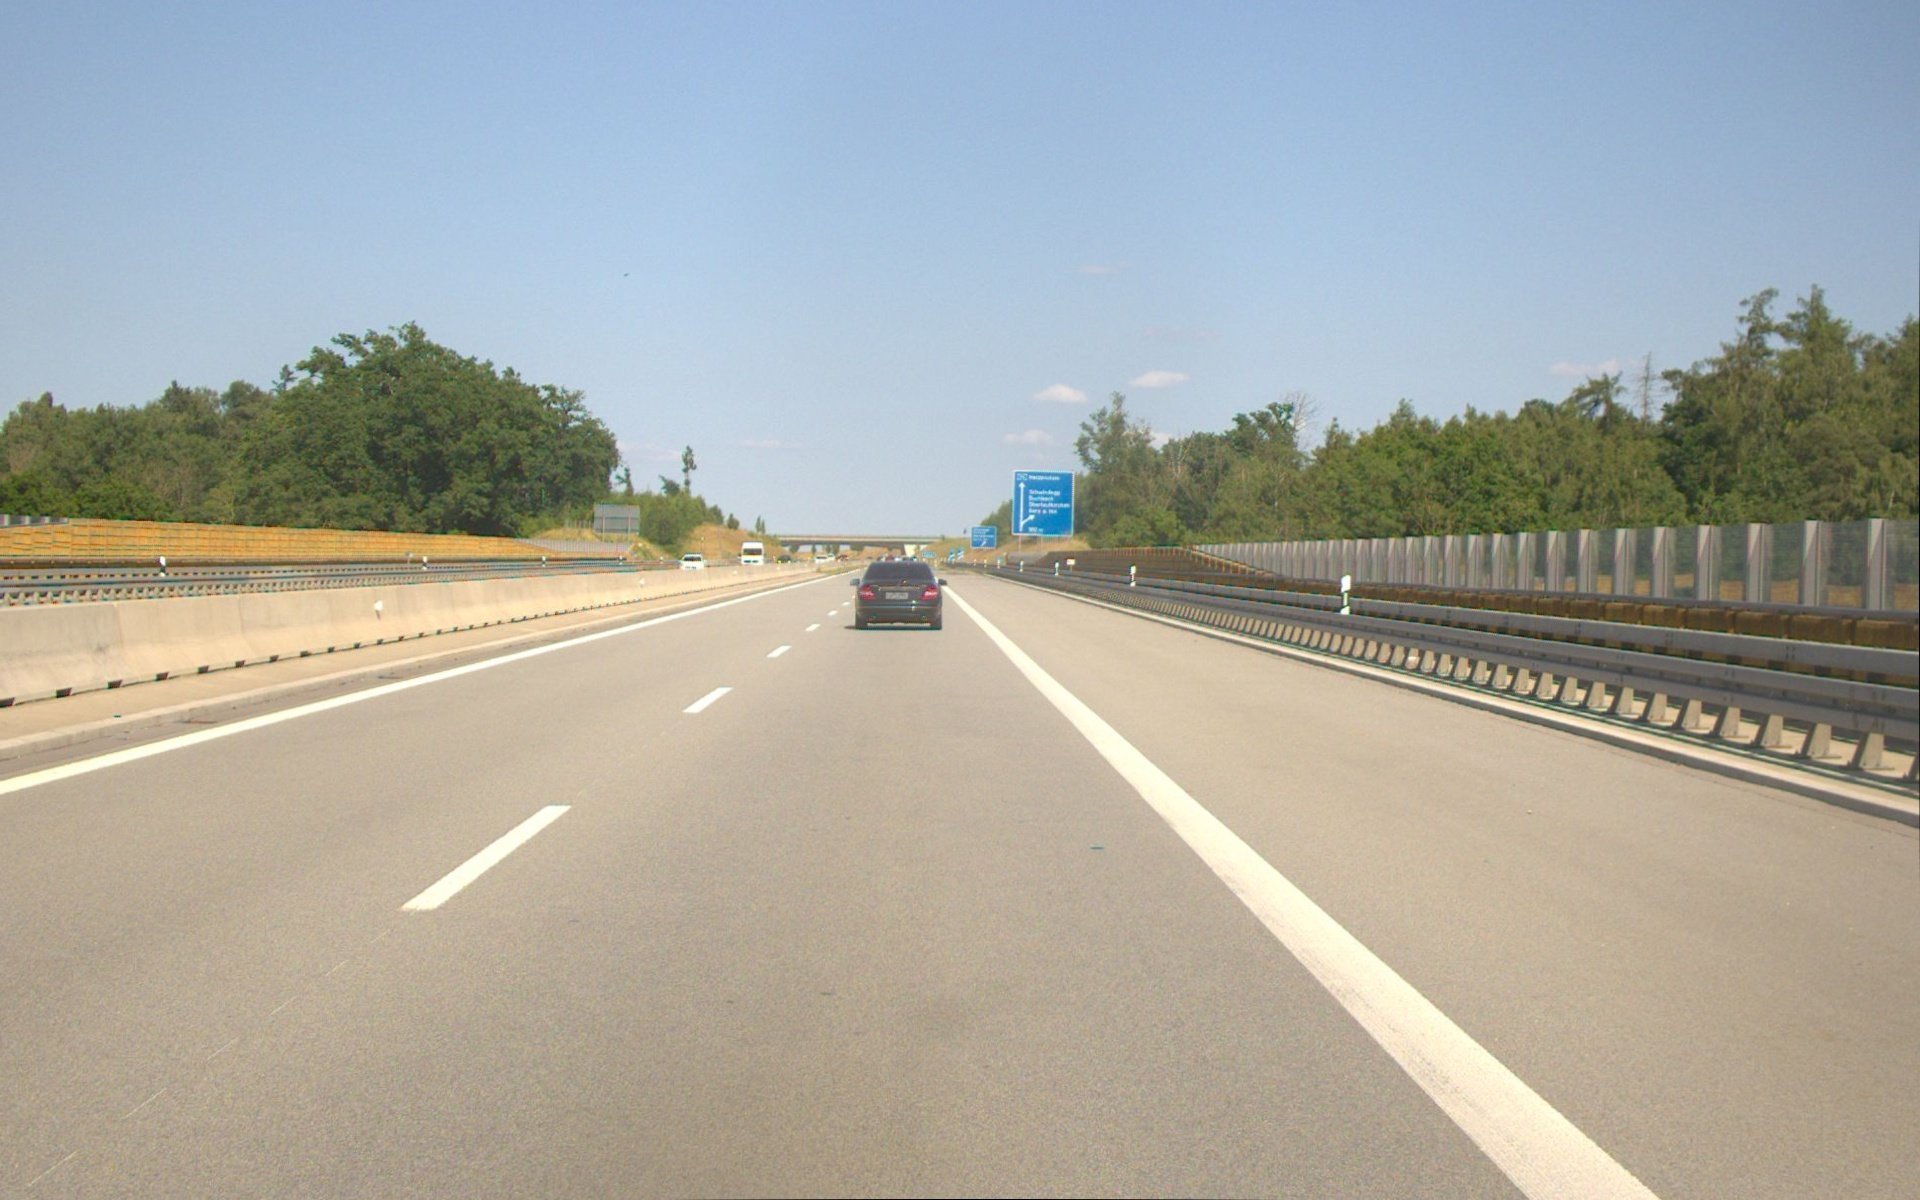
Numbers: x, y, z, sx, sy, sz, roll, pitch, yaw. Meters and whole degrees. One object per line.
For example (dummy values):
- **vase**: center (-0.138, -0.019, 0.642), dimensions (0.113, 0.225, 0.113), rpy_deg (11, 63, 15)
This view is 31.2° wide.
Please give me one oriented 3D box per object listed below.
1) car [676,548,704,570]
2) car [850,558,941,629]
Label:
- **car**: center (-19.000, -2.873, 241.832), dimensions (1.647, 1.503, 4.332), rpy_deg (0, 1, 0)
- **car**: center (-1.299, -0.151, 70.293), dimensions (1.790, 1.369, 3.917), rpy_deg (1, 1, 0)
